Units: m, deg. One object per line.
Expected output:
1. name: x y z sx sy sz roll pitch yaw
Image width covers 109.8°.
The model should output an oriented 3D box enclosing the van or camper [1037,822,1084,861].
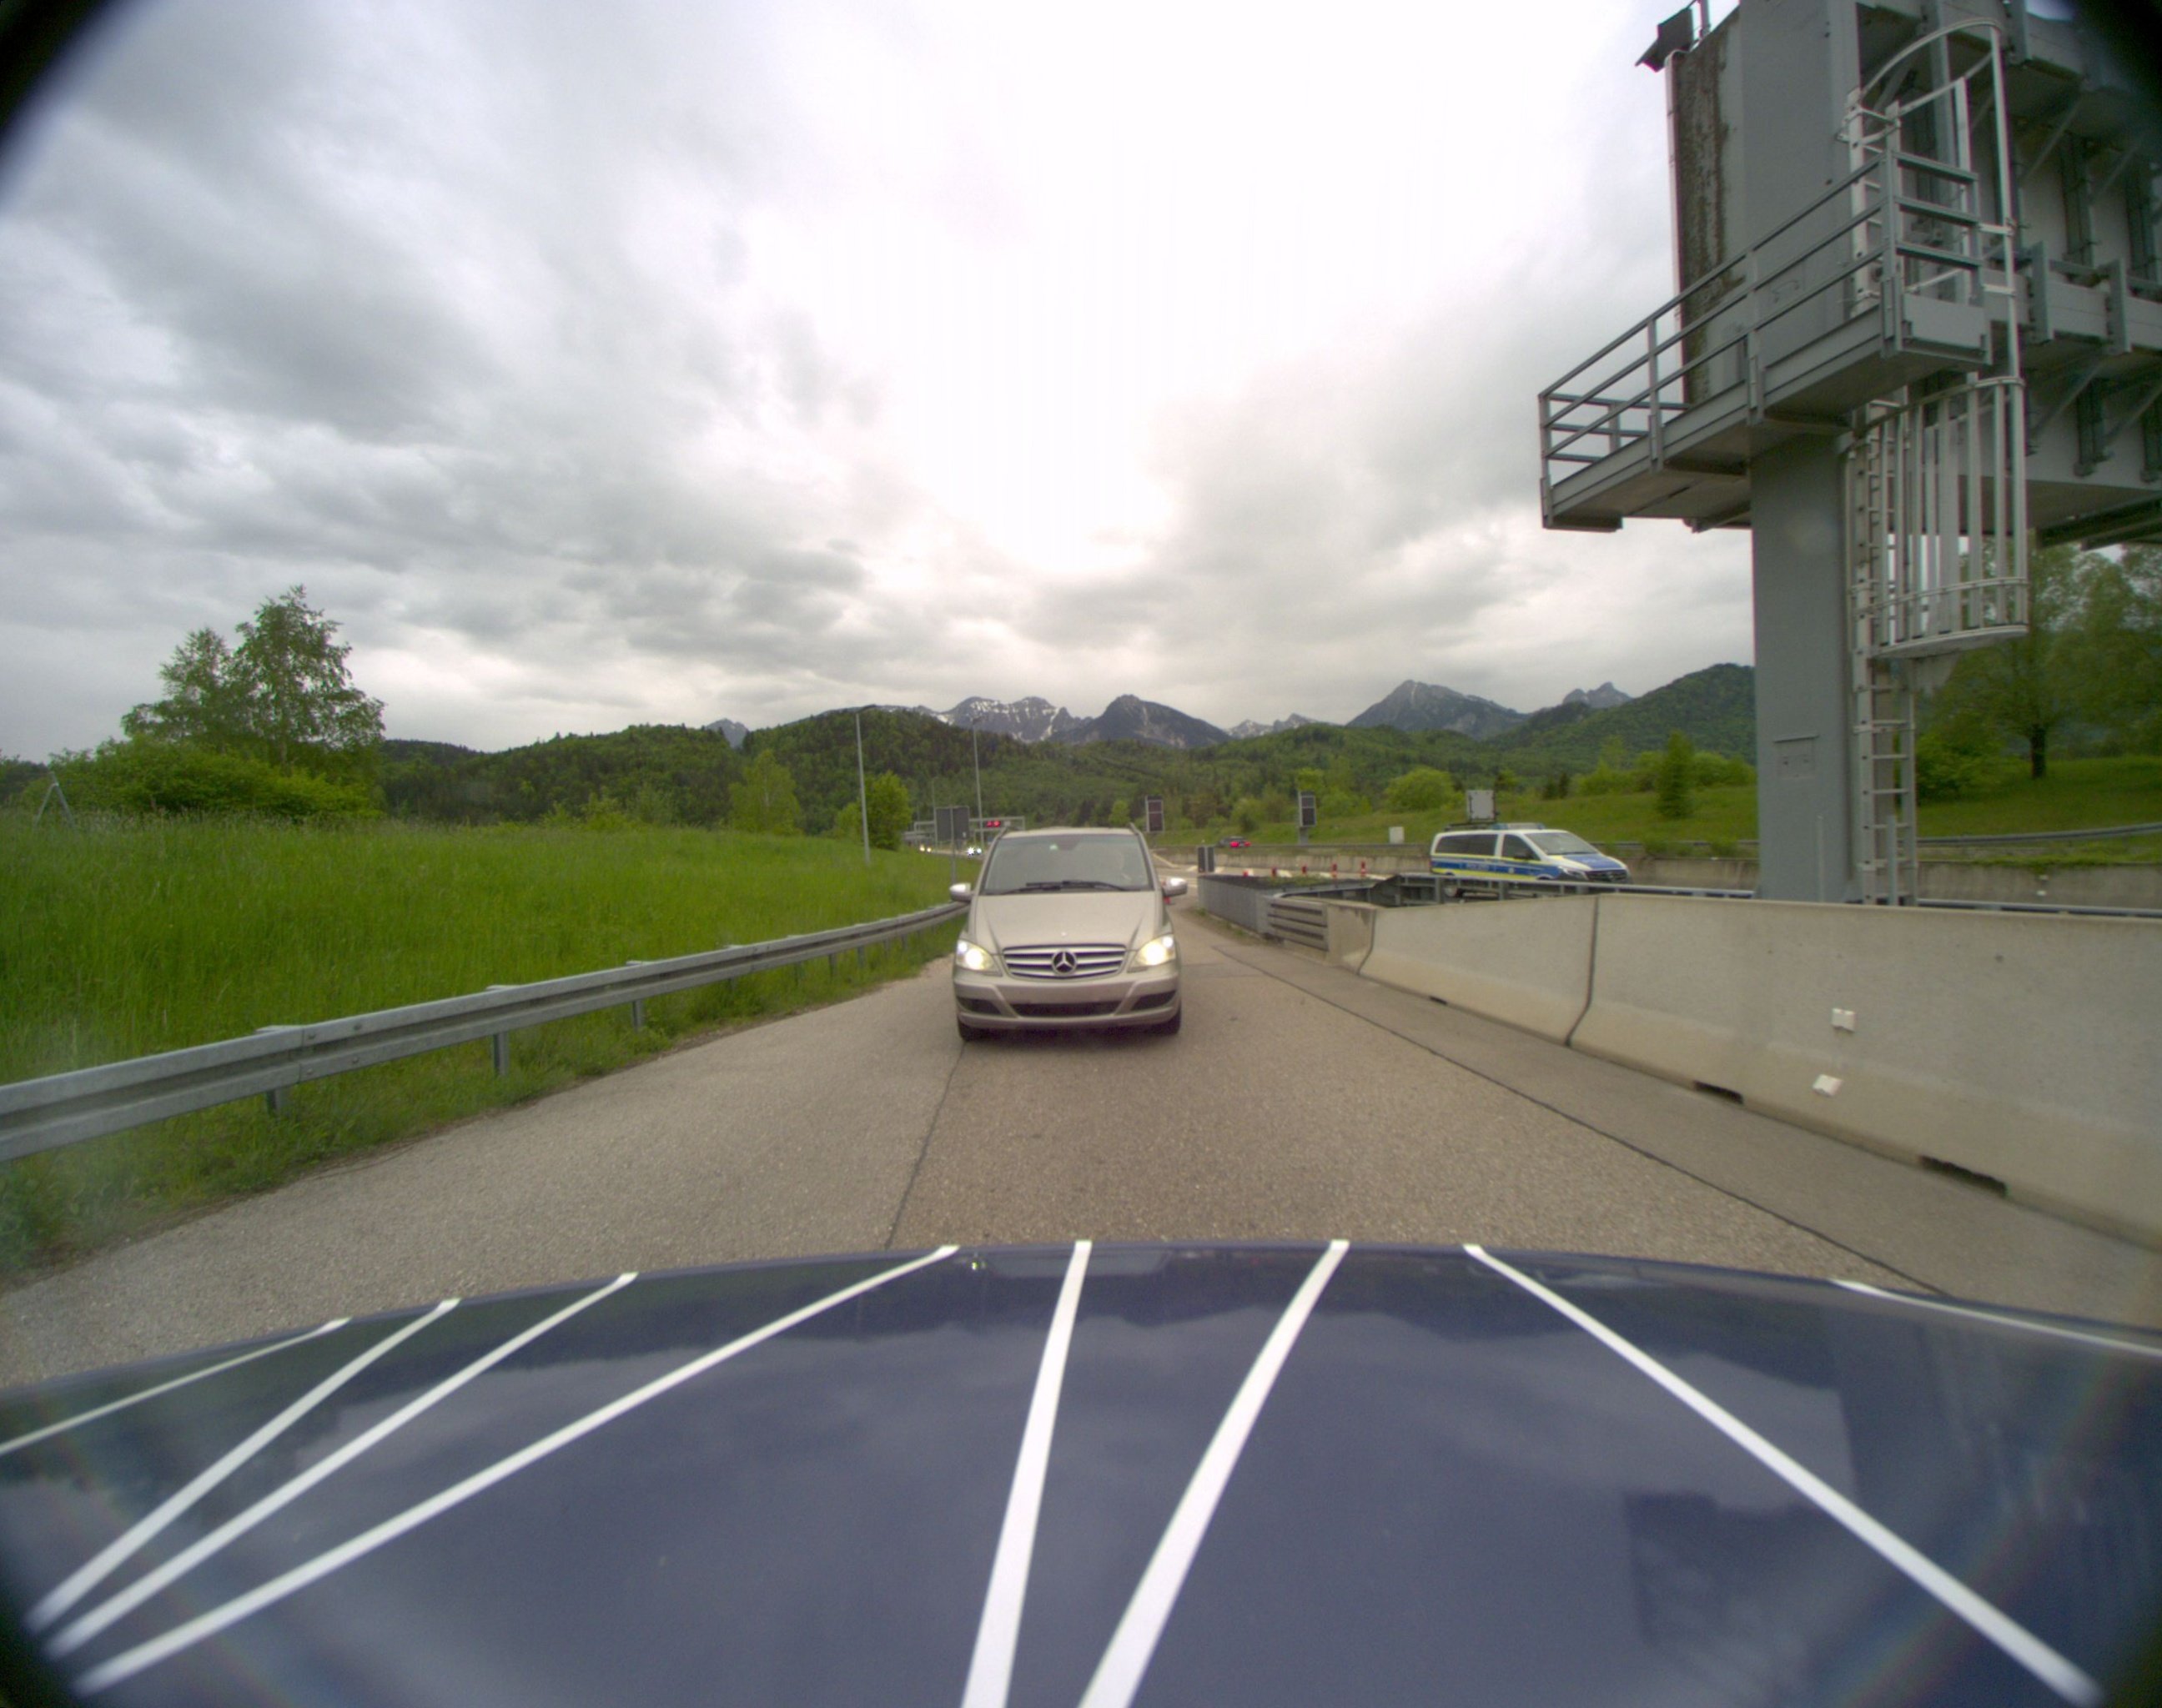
1. van or camper: -1.964 -1.120 69.051 2.585 3.372 7.345 -2 1 -14

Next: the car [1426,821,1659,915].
1. car: 11.331 0.278 19.211 2.106 2.002 5.045 -2 1 -13

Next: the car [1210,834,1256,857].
1. car: 13.658 -0.744 68.414 1.992 1.944 5.102 -1 1 -15

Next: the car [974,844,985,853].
1. car: -19.115 -0.958 142.929 1.722 1.629 4.343 -1 1 -13

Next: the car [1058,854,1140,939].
1. car: 0.407 0.846 17.209 1.591 1.662 4.000 -1 0 1

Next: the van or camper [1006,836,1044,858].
1. van or camper: -7.230 -0.893 97.061 3.345 2.629 8.189 -1 1 -15

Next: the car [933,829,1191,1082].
1. car: -0.103 0.711 8.391 1.862 1.833 5.616 -1 1 1
